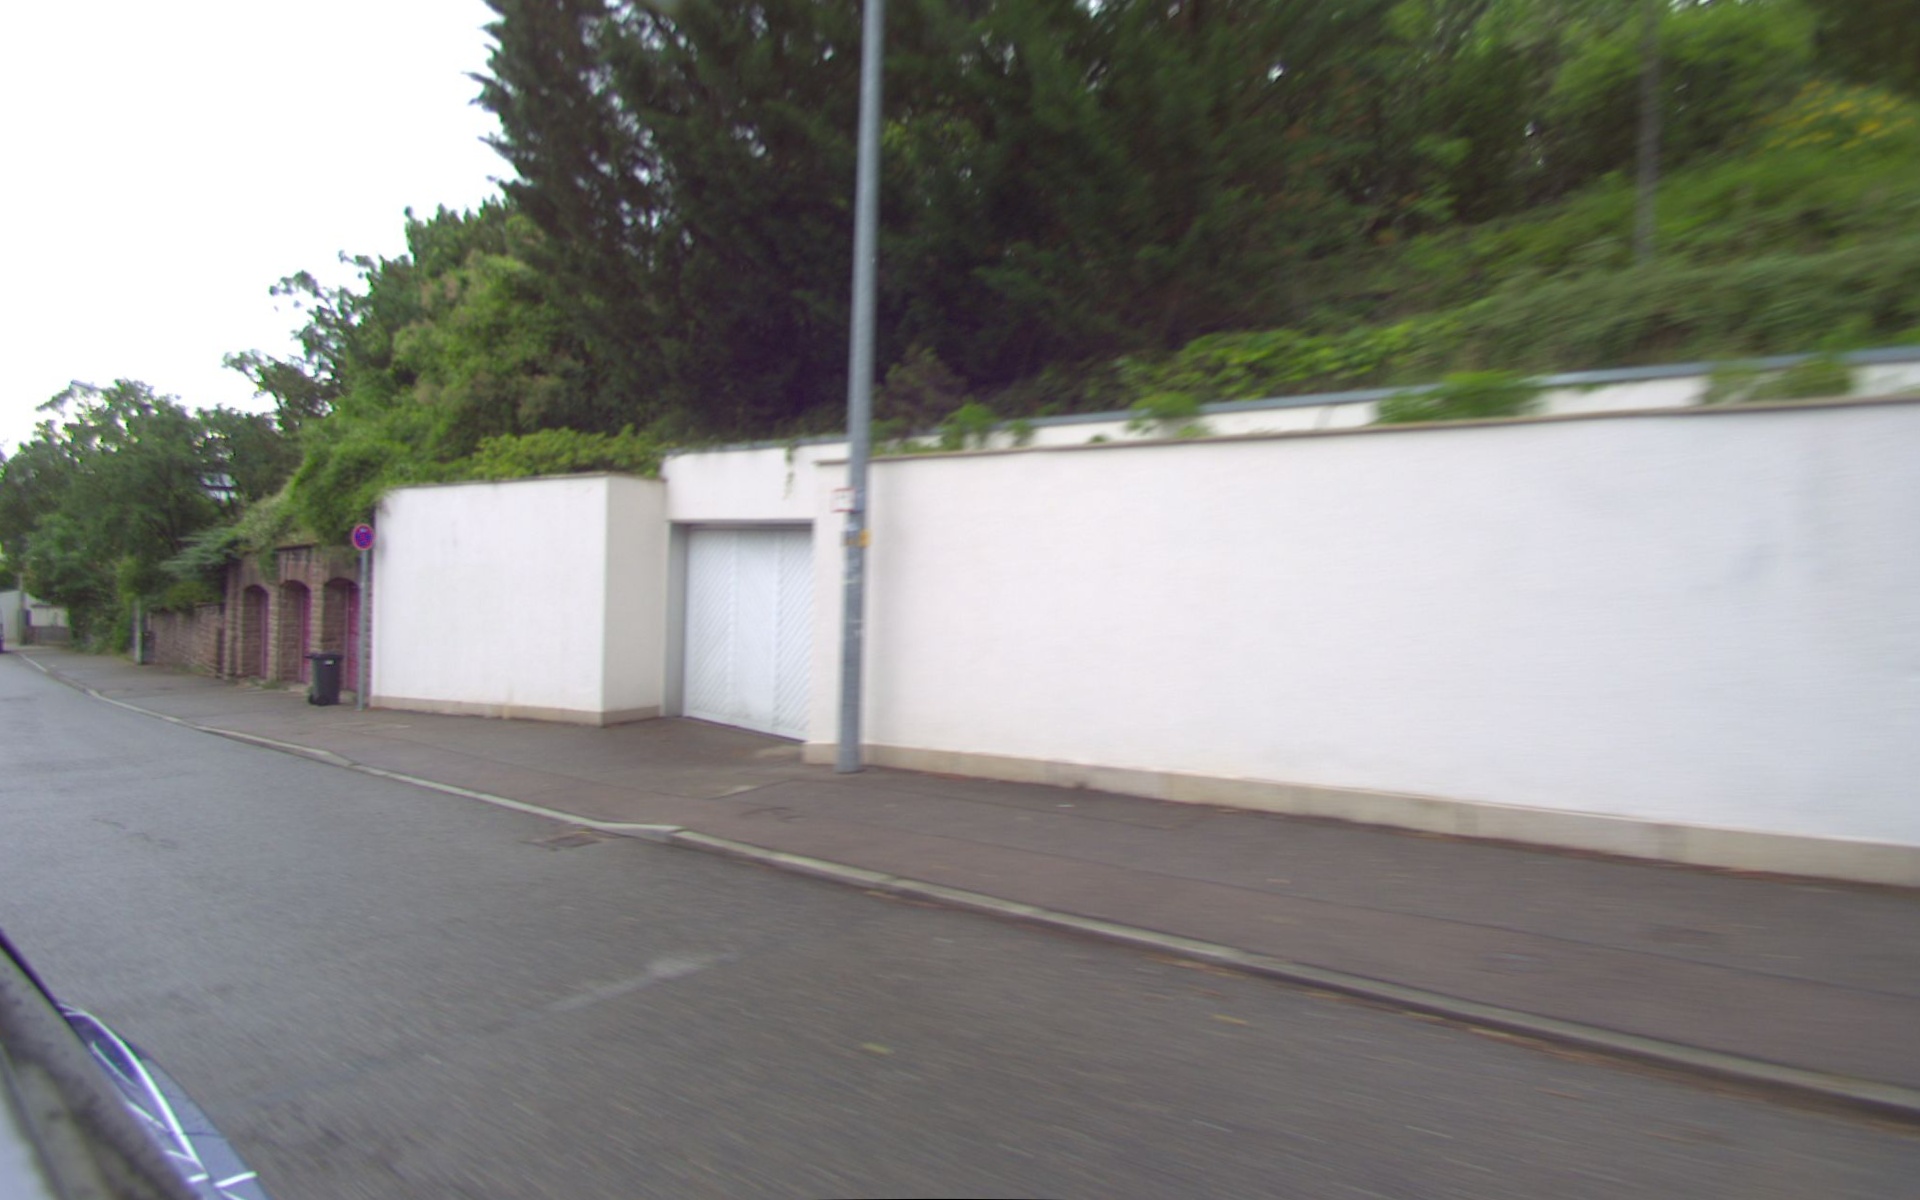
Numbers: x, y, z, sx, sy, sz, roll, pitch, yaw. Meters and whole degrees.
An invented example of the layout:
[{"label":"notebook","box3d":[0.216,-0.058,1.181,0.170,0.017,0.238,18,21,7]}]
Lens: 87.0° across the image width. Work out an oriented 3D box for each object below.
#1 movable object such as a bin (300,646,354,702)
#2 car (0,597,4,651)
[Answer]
[{"label":"movable object such as a bin","box3d":[-11.255,1.296,17.983,0.677,0.926,0.651,-2,0,43]},{"label":"car","box3d":[-48.514,1.232,49.424,6.094,2.569,2.072,-2,0,41]}]
